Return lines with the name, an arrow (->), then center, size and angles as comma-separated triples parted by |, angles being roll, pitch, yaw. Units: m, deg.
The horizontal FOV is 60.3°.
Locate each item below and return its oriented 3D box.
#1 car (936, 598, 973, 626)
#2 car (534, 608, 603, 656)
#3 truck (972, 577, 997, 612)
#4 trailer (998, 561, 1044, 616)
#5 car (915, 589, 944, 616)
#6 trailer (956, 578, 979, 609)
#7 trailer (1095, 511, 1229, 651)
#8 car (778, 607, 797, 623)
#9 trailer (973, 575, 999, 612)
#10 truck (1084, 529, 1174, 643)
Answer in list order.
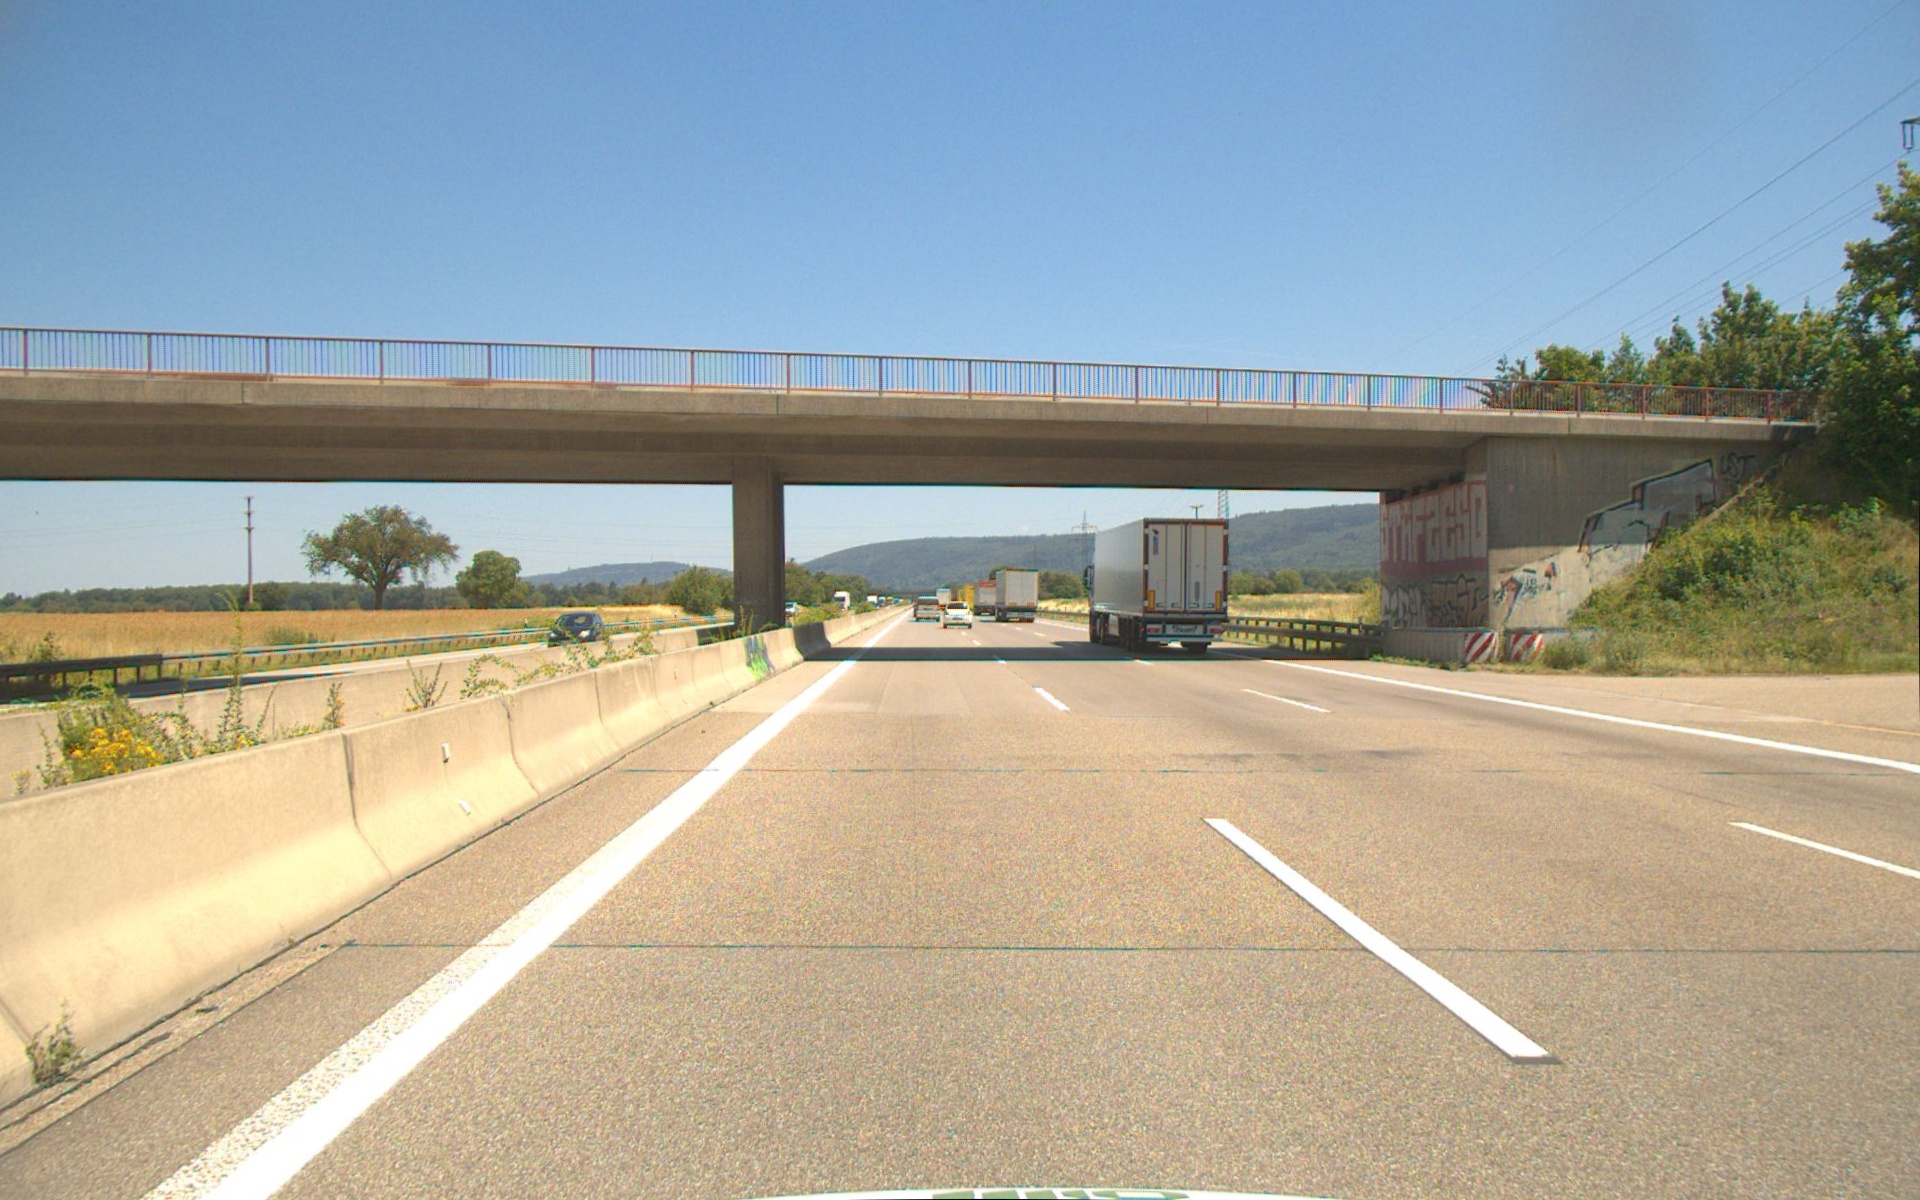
car -> -0.300, 0.686, 96.169 | 2.064, 1.563, 4.122 | 1, 0, 0
car -> -14.434, 1.160, 61.134 | 1.730, 1.647, 3.860 | -1, 0, -2
truck -> 3.009, -0.682, 203.710 | 2.846, 4.172, 6.271 | 1, 0, -1
trailer -> 4.804, -0.855, 133.230 | 2.956, 4.132, 14.203 | 1, 0, -1
car -> -2.355, 0.189, 128.688 | 2.209, 2.049, 4.297 | 1, 0, -1
trailer -> 1.114, -0.929, 260.868 | 3.150, 4.643, 13.453 | 1, 0, -1
trailer -> 6.533, -0.539, 55.600 | 2.654, 4.114, 12.898 | 1, 0, -1
car -> -21.922, 1.839, 210.407 | 1.827, 1.978, 5.564 | 1, 0, -1
trailer -> 3.080, -0.703, 198.429 | 2.815, 4.172, 13.510 | 1, 0, 0
truck -> 6.360, -0.511, 62.989 | 2.694, 4.114, 5.464 | 1, 0, -1
